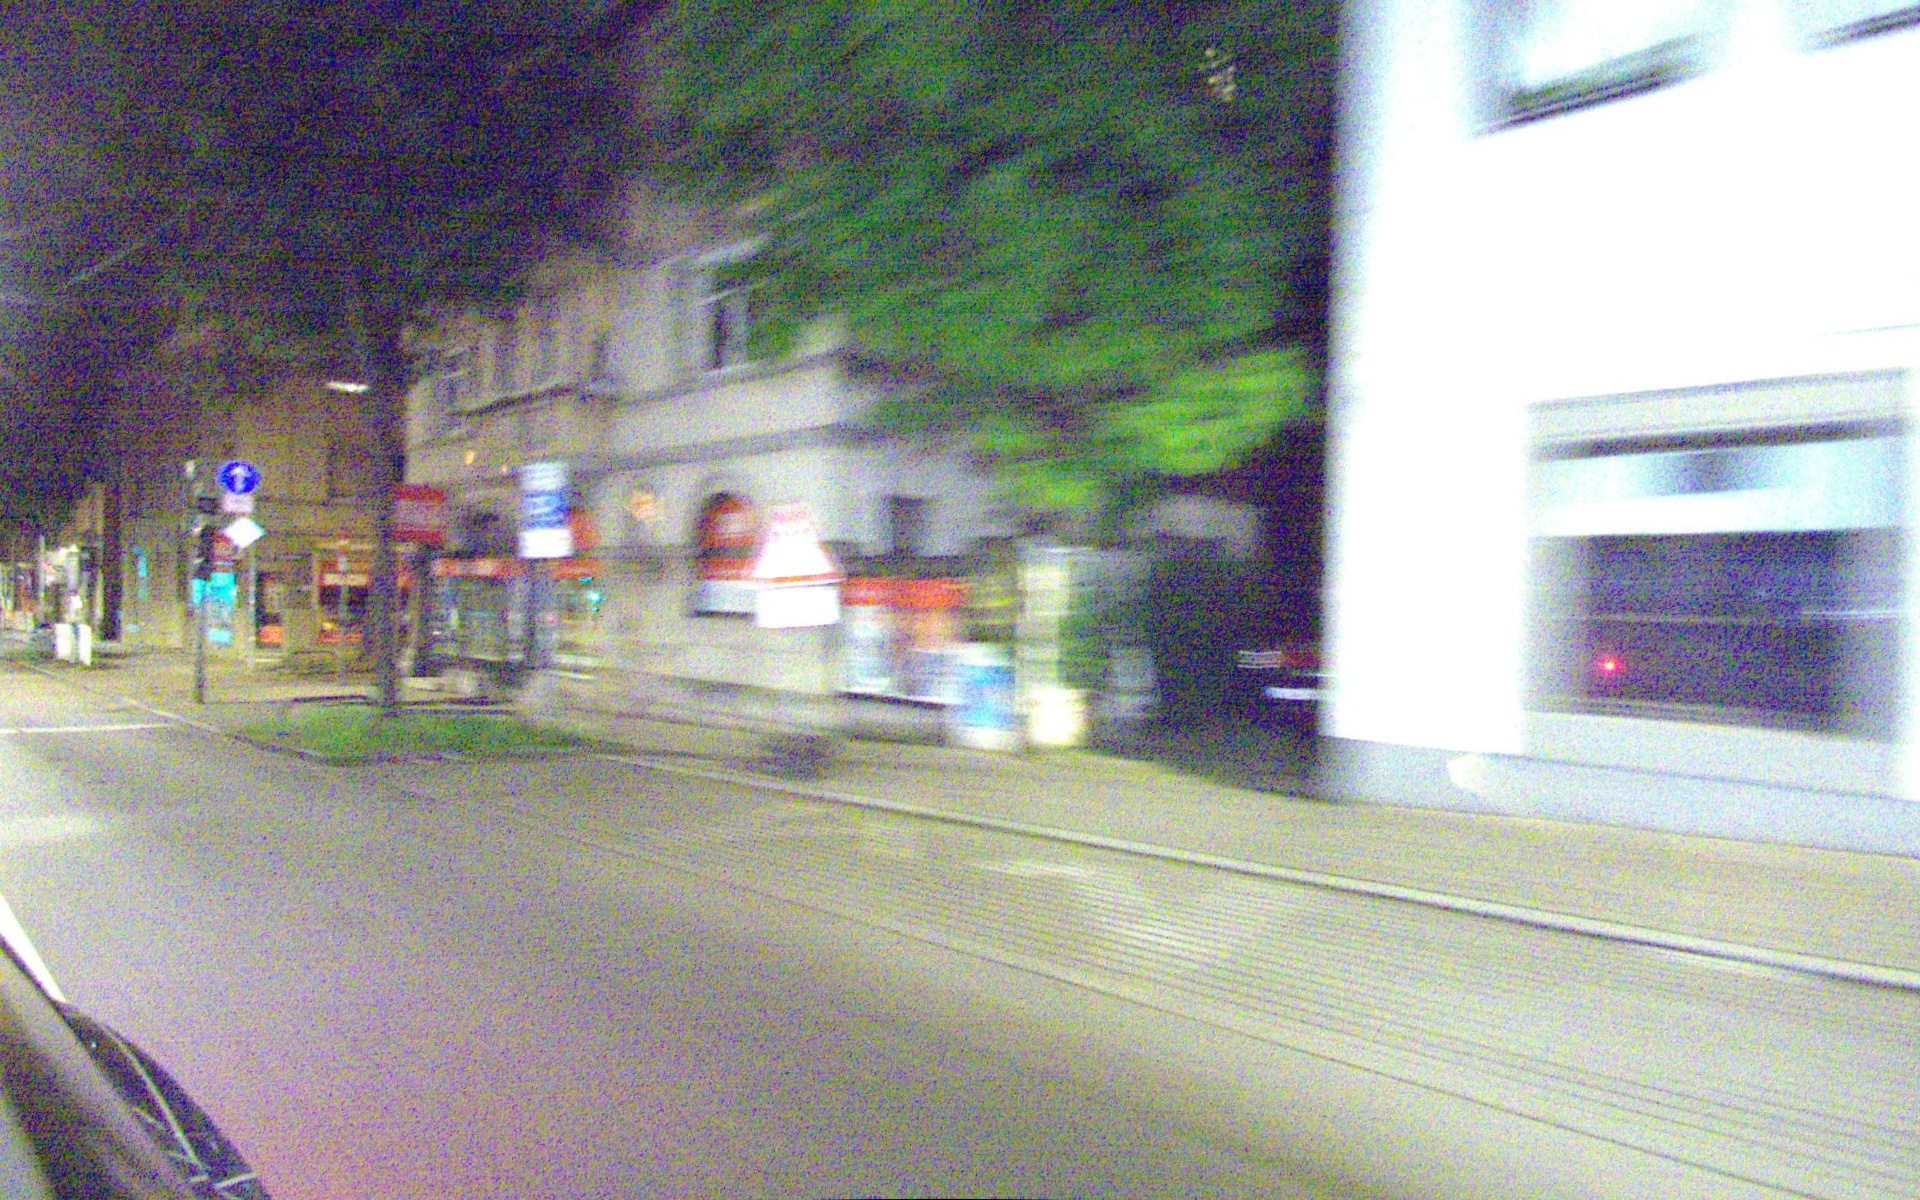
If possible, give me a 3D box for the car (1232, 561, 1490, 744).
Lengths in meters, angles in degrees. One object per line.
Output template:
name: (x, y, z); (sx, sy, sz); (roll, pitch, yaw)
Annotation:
car: (5.013, 0.523, 12.356); (1.838, 1.851, 3.890); (-1, 0, 39)
